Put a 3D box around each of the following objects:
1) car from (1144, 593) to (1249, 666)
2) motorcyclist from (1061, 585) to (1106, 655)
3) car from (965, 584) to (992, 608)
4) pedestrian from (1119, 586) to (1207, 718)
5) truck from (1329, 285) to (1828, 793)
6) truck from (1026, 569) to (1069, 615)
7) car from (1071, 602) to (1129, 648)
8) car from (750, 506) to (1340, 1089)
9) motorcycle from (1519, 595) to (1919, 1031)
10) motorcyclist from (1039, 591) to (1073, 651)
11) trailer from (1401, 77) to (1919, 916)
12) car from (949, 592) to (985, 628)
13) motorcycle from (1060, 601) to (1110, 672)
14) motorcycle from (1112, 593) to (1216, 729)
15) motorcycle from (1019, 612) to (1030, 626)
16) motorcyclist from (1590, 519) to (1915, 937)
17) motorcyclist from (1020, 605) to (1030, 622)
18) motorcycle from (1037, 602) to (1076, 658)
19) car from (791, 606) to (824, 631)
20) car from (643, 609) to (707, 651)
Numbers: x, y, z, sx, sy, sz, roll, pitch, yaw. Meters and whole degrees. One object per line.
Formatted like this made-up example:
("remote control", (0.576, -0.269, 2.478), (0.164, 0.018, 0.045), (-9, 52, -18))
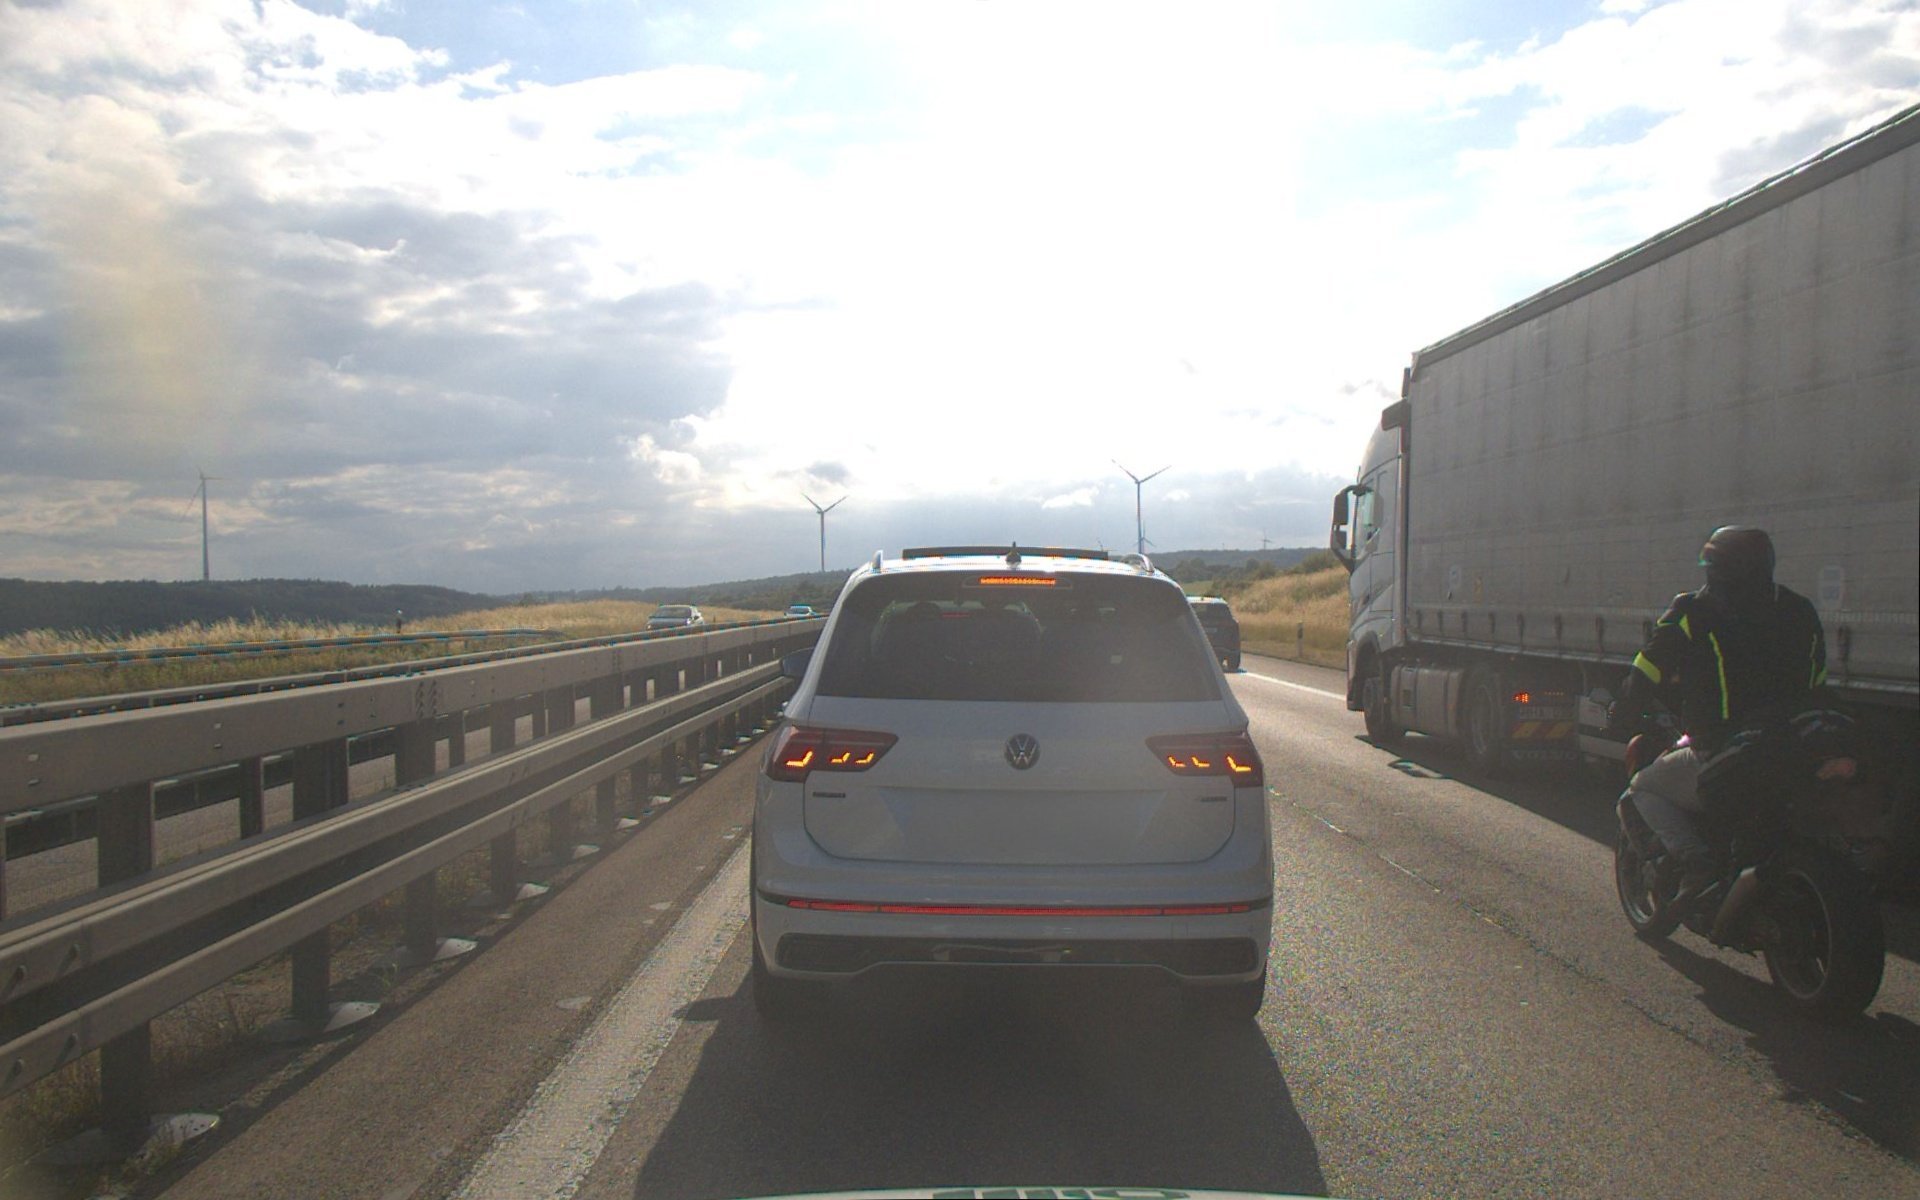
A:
("car", (5.706, 0.697, 40.397), (1.784, 1.629, 4.233), (2, 0, -2))
("motorcyclist", (2.644, 0.417, 35.364), (0.877, 1.481, 0.892), (0, -1, -2))
("car", (1.217, -0.268, 110.349), (1.669, 1.573, 3.999), (0, 0, -1))
("pedestrian", (2.332, 0.589, 19.100), (0.877, 1.481, 0.983), (0, -1, -1))
("truck", (5.712, -0.495, 16.483), (2.548, 4.111, 6.117), (0, 0, -2))
("truck", (7.144, -0.658, 136.521), (3.118, 3.656, 11.132), (0, 0, 1))
("car", (4.904, 0.852, 58.427), (1.669, 1.573, 3.999), (0, 0, -1))
("car", (0.228, 0.589, 6.863), (1.734, 1.705, 3.999), (0, 0, -1))
("motorcycle", (3.130, 0.730, 6.767), (0.877, 1.481, 2.268), (0, 0, -1))
("motorcyclist", (2.637, 0.571, 45.517), (0.877, 1.645, 1.022), (0, -1, -1))
("trailer", (5.935, -0.508, 9.935), (2.564, 4.111, 13.694), (0, 0, -2))
("car", (0.337, 0.475, 80.037), (1.669, 1.679, 3.999), (0, 0, -1))
("motorcycle", (2.656, 0.761, 35.341), (0.877, 1.481, 1.982), (0, 0, -1))
("motorcycle", (2.338, 0.676, 19.219), (0.877, 1.481, 2.268), (0, 0, -1))
("motorcycle", (5.915, 1.737, 150.936), (0.877, 1.211, 2.256), (0, 0, -1))
("motorcyclist", (3.125, 0.480, 6.606), (0.877, 1.556, 0.863), (0, -1, -2))
("motorcyclist", (5.919, 1.235, 150.895), (0.832, 1.587, 0.934), (0, -1, -1))
("motorcycle", (2.641, 0.814, 45.533), (0.877, 1.481, 2.268), (0, 0, -1))
("car", (-9.480, 1.139, 102.845), (1.697, 1.511, 3.999), (0, 0, -1))
("car", (-10.539, 1.080, 61.415), (1.697, 1.511, 3.999), (0, 0, -1))
